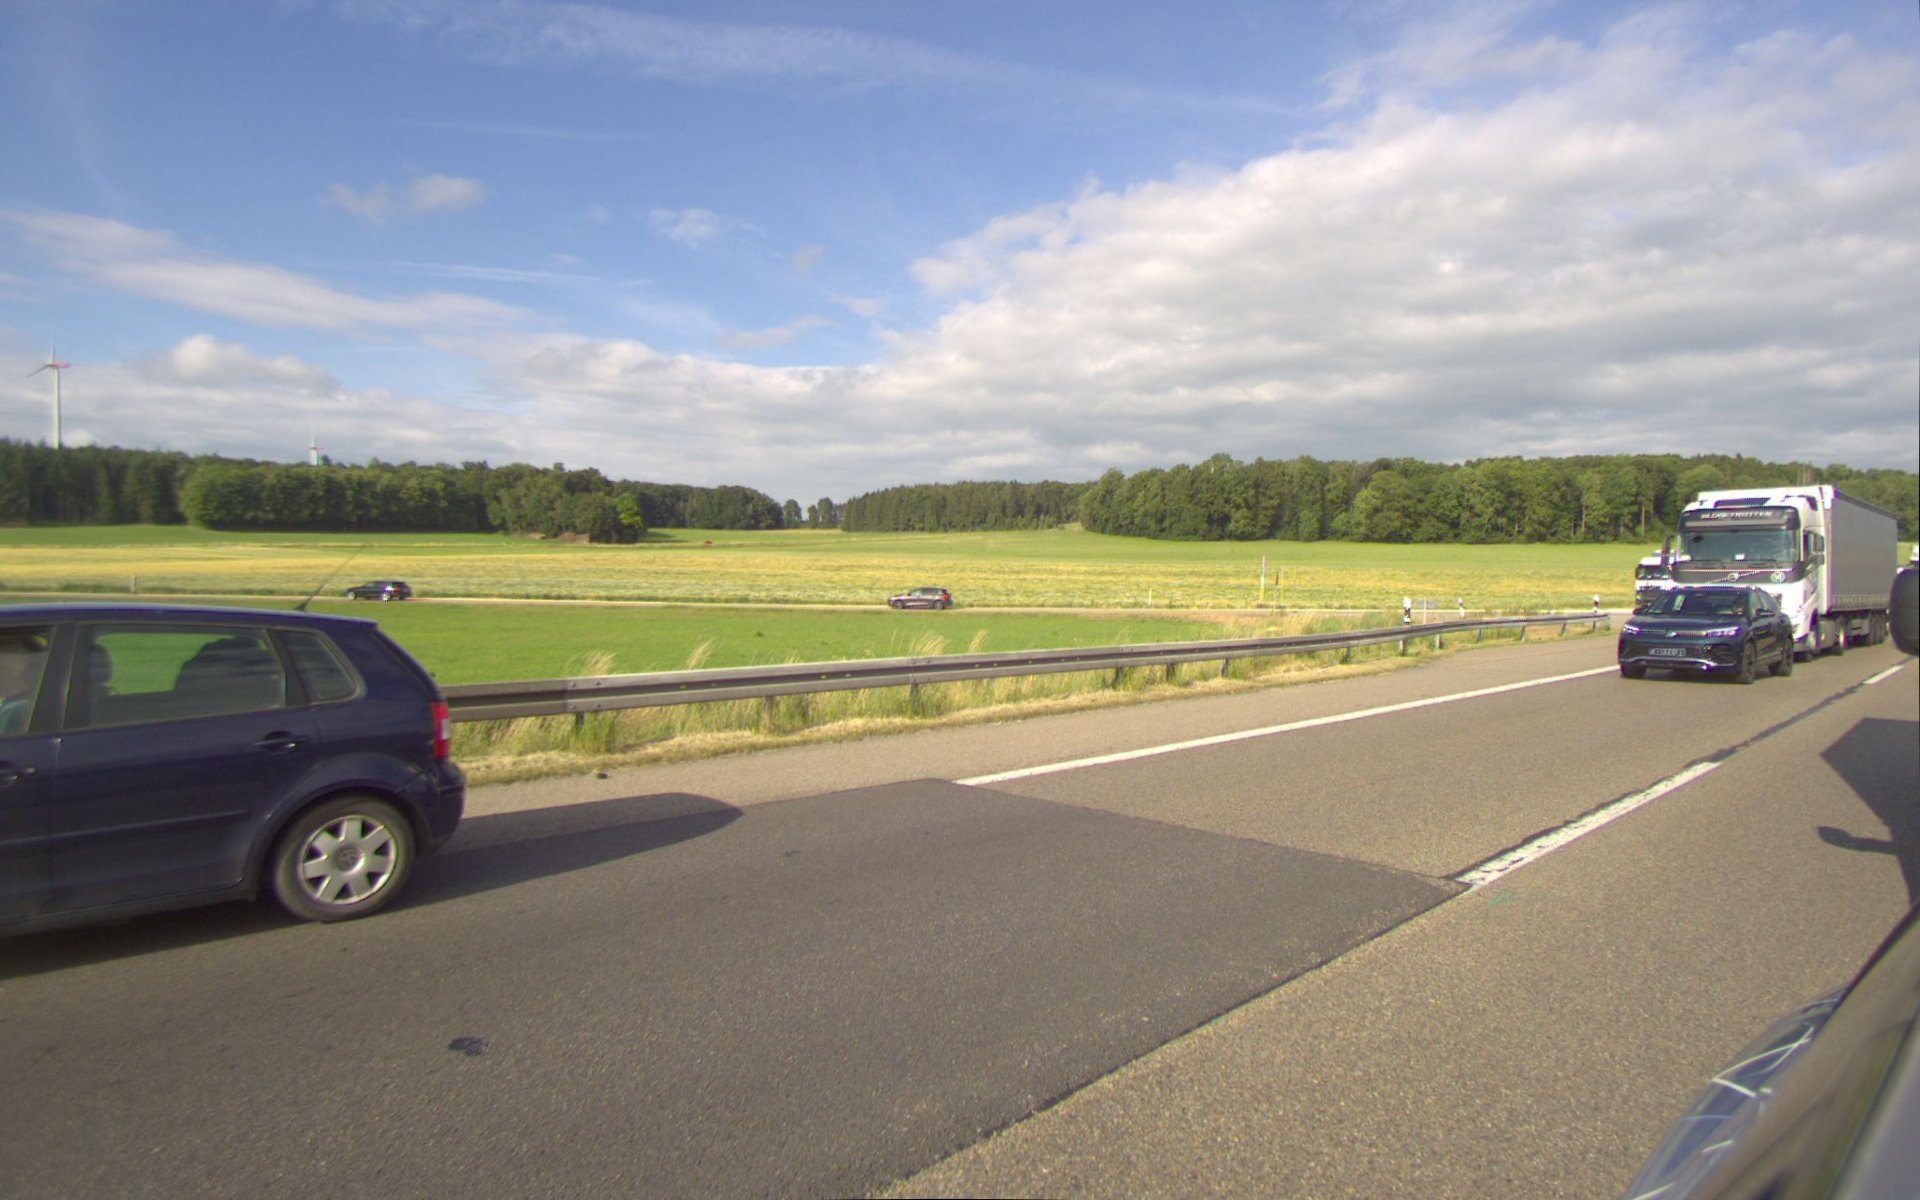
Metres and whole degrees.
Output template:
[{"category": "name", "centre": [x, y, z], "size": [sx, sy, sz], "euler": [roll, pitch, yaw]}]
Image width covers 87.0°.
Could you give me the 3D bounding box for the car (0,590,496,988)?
[{"category": "car", "centre": [-4.196, 0.701, 4.313], "size": [3.710, 1.464, 1.712], "euler": [-1, 1, -42]}]

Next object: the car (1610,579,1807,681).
[{"category": "car", "centre": [13.424, 0.447, 18.072], "size": [4.047, 1.616, 1.997], "euler": [-1, 1, -41]}]

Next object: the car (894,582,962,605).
[{"category": "car", "centre": [-2.076, -0.434, 66.413], "size": [4.154, 1.505, 1.832], "euler": [0, 0, 12]}]

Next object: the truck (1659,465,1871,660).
[{"category": "truck", "centre": [19.323, -0.822, 24.162], "size": [6.387, 4.040, 2.840], "euler": [-1, 0, -41]}]

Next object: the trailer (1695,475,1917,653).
[{"category": "trailer", "centre": [23.664, -0.884, 27.938], "size": [11.916, 4.032, 2.824], "euler": [-1, 0, -41]}]

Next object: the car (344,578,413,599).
[{"category": "car", "centre": [-41.854, -0.823, 72.821], "size": [4.154, 1.505, 1.832], "euler": [0, 0, 12]}]
